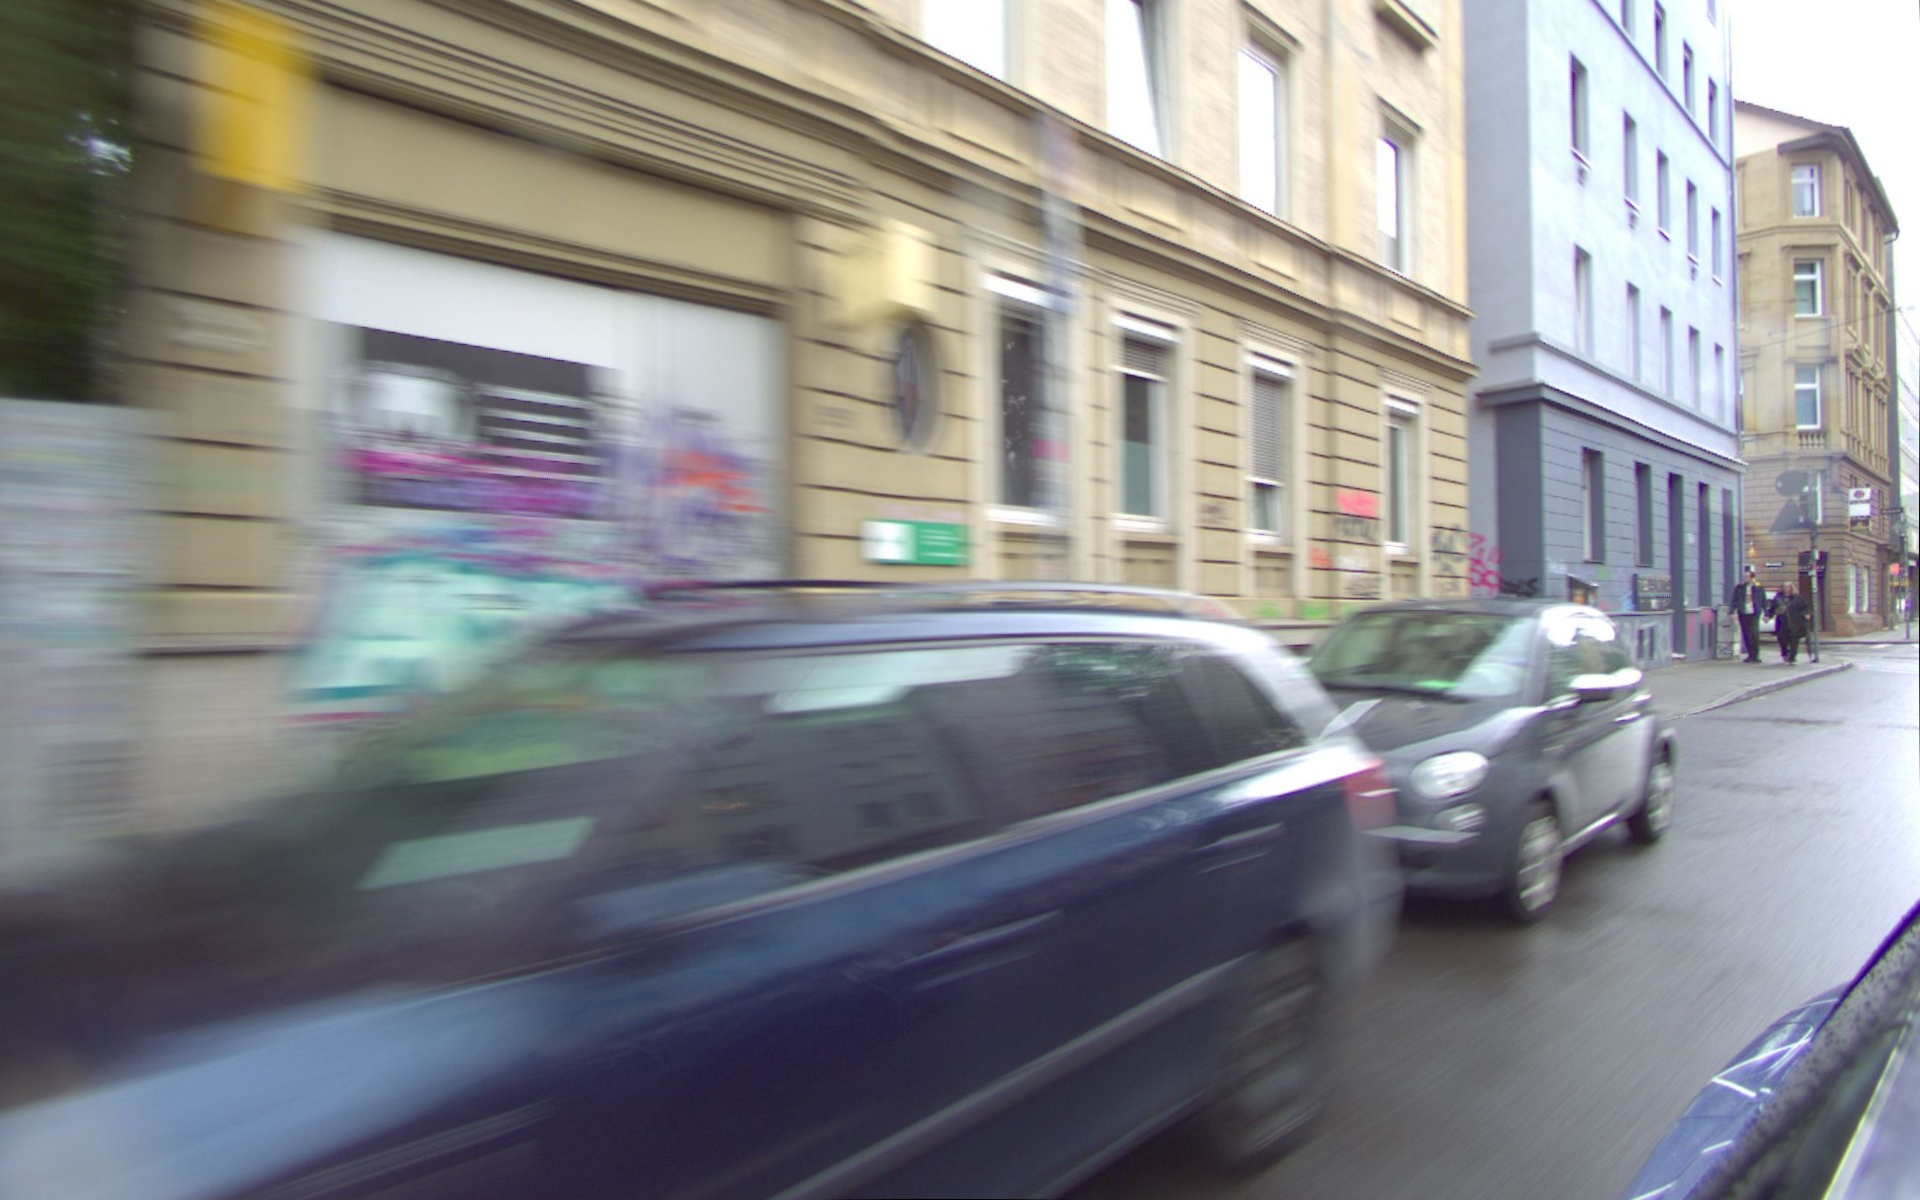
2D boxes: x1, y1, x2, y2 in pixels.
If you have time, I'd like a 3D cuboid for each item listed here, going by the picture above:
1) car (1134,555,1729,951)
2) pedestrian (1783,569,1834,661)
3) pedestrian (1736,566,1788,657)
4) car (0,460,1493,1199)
[{"bbox_3d":[3.064,0.608,6.079,4.260,1.549,1.756,0,-1,-43],"label":"car"},{"bbox_3d":[18.064,0.309,21.541,0.589,1.915,0.714,0,-2,-43],"label":"pedestrian"},{"bbox_3d":[17.472,0.261,22.044,0.578,1.938,0.763,0,-2,-43],"label":"pedestrian"},{"bbox_3d":[-0.567,0.660,2.358,4.170,1.549,1.786,0,-1,-41],"label":"car"}]
